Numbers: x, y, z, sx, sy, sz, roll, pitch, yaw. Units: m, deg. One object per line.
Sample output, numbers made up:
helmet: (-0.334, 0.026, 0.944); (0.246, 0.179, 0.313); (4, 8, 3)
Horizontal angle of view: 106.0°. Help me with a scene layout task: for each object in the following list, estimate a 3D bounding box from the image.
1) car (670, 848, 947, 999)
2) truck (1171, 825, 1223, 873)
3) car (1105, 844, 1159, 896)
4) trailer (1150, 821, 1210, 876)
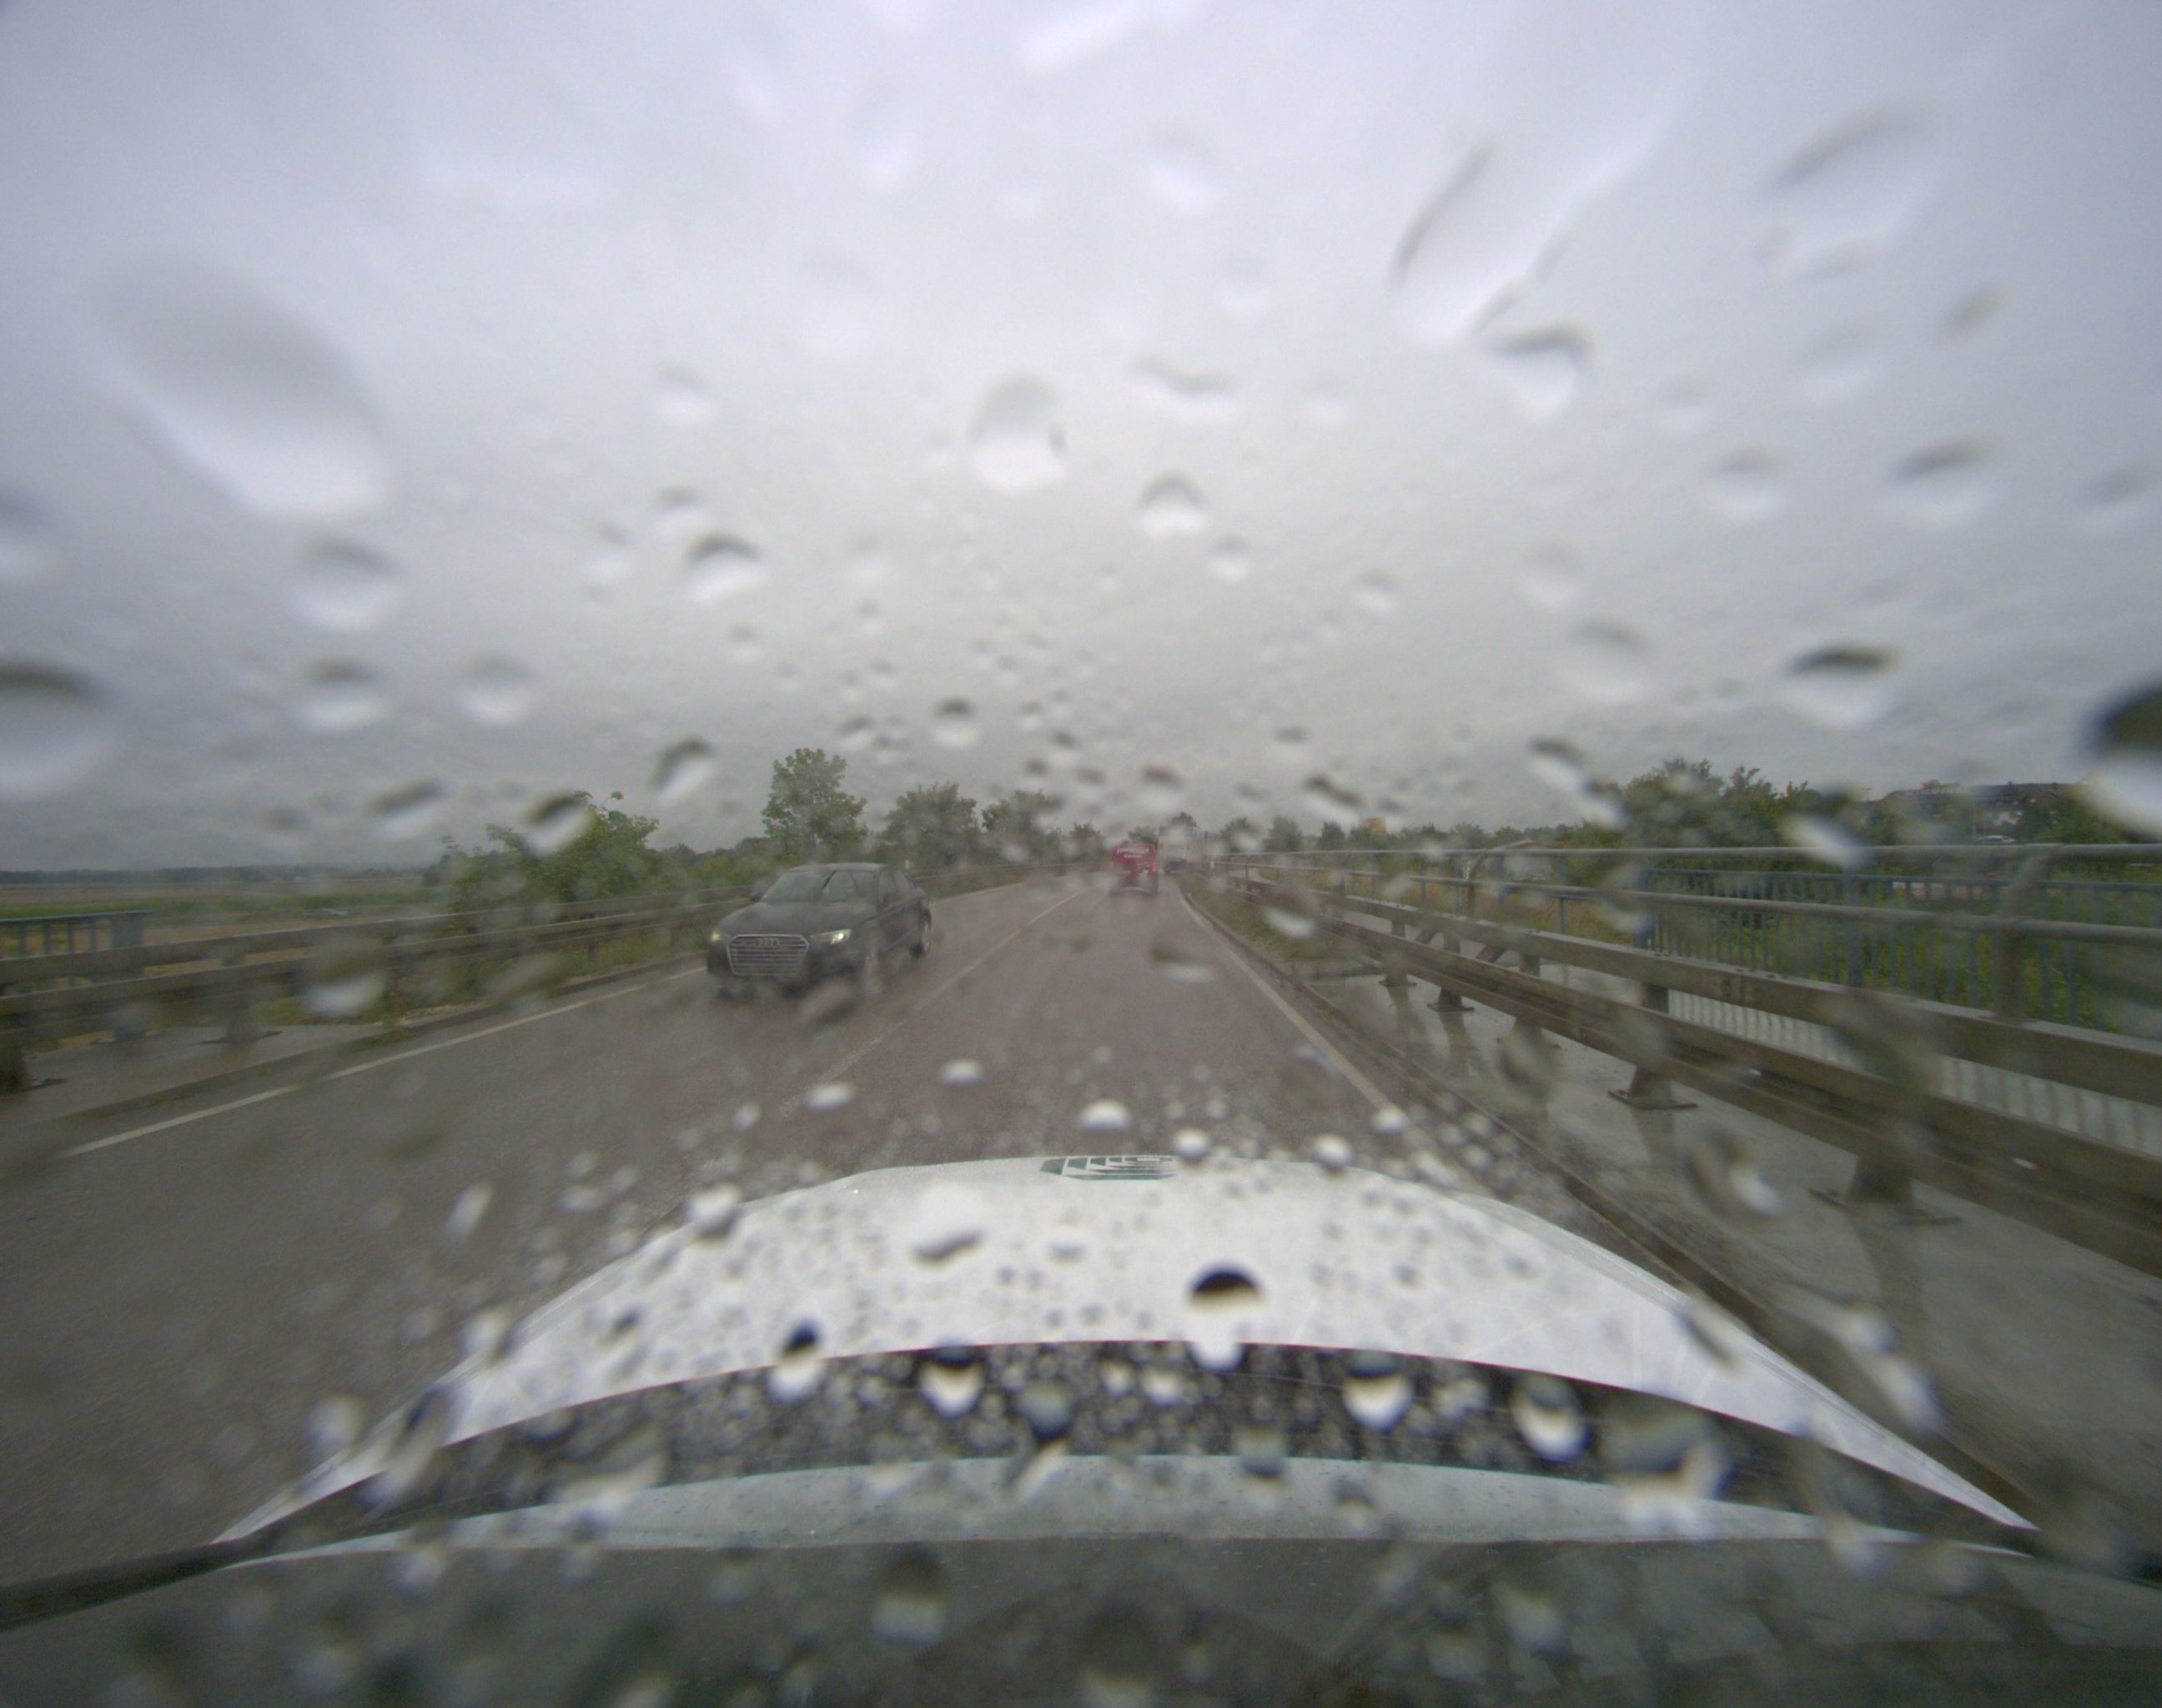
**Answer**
car: (-3.189, 0.716, 10.526); (1.829, 1.537, 4.076); (-2, 0, 6)
truck: (10.306, -0.411, 71.513); (3.177, 3.922, 8.776); (2, 0, 16)
car: (2.085, 0.568, 32.278); (1.984, 1.925, 4.150); (0, 0, 5)
trailer: (7.821, -0.411, 63.074); (3.177, 3.922, 8.776); (2, 0, 16)
